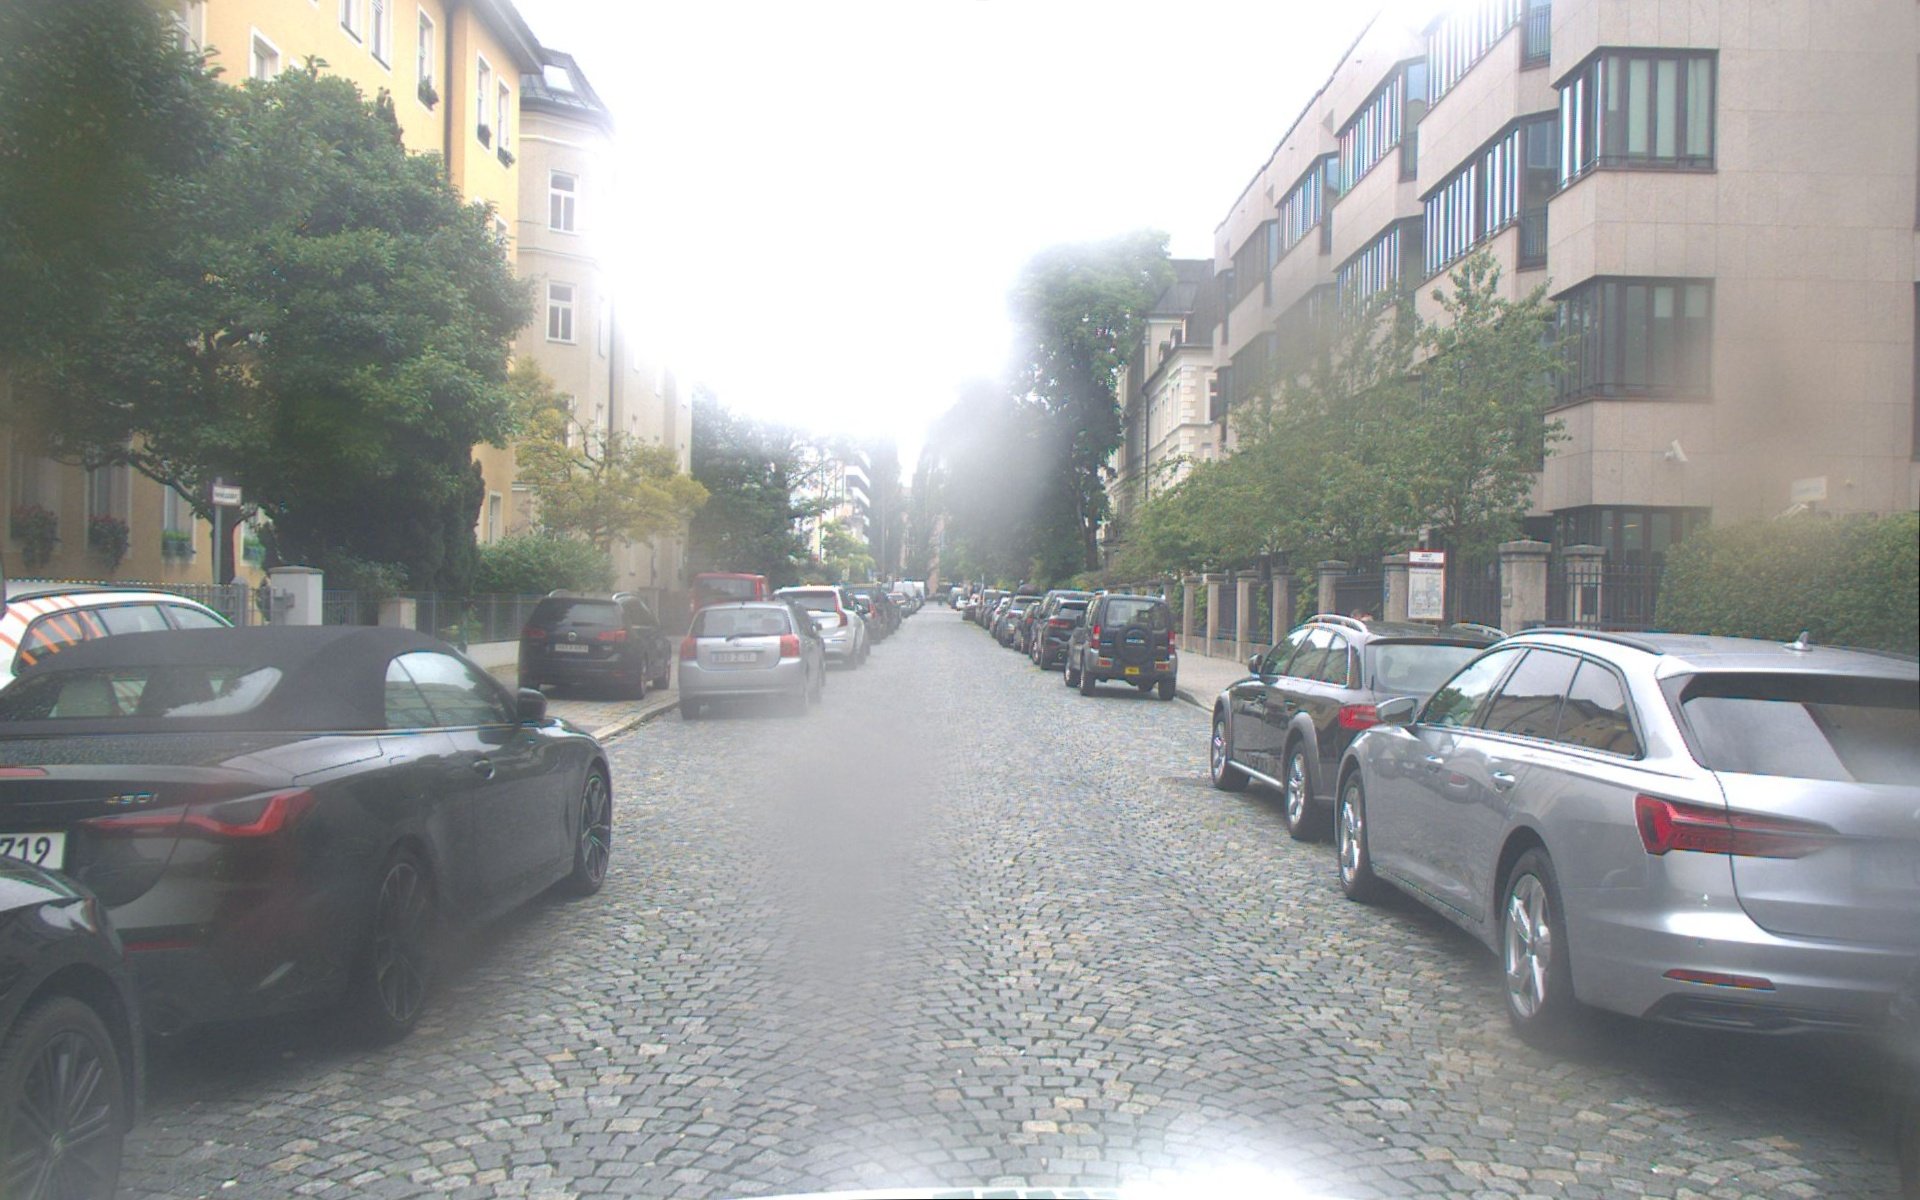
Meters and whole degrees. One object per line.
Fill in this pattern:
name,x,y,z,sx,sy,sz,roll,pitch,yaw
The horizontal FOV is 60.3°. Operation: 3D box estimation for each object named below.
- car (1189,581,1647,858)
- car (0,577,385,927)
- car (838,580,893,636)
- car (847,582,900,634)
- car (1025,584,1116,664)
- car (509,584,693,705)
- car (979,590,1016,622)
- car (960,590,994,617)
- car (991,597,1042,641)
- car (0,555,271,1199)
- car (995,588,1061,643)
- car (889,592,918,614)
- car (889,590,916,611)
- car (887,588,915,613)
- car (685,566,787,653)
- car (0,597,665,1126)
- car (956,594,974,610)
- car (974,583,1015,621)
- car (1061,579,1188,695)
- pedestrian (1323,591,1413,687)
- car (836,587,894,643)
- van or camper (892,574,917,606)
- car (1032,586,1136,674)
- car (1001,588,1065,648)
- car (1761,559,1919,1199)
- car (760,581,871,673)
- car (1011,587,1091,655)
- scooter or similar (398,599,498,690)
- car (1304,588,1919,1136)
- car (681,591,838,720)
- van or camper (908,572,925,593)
car,3.142,0.720,12.578,1.953,1.579,5.013,3,0,-1
car,-4.887,0.616,9.190,1.739,1.441,4.561,2,0,0
car,-3.438,0.273,60.885,1.835,1.950,4.826,-2,0,-2
car,-3.458,0.312,67.291,1.953,1.950,5.175,-3,0,-2
car,2.780,0.571,42.667,1.753,1.827,4.507,4,0,-2
car,-5.150,0.588,24.334,1.680,1.523,4.720,3,0,-1
car,1.930,0.309,86.498,1.799,1.516,4.421,3,0,0
car,1.049,0.204,104.185,1.836,1.529,4.509,3,0,-3
car,2.167,0.705,64.635,1.835,1.516,4.617,3,1,1
car,-2.669,0.739,2.194,1.704,1.631,4.536,-1,0,-2
car,2.391,0.523,59.505,1.836,1.765,4.745,4,0,-3
car,-4.417,0.239,129.892,1.834,1.607,4.209,3,0,2
car,-4.112,0.032,118.135,1.836,1.476,4.205,-1,0,-3
car,-4.022,0.037,112.106,1.836,1.607,4.253,-2,0,-3
car,-5.576,0.212,41.788,1.954,1.964,5.328,2,0,-2
car,-2.631,0.756,7.188,1.777,1.480,4.912,-2,0,0
car,0.462,0.176,165.855,1.753,1.547,4.000,1,0,0
car,1.887,0.081,92.216,1.836,1.962,5.161,3,0,-3
car,2.790,0.590,28.746,1.586,1.781,3.885,3,0,-2
pedestrian,6.738,0.623,27.360,1.192,1.519,1.129,-2,0,1
car,-3.212,0.462,55.779,1.828,1.765,4.401,-2,0,-3
van or camper,-4.868,-0.837,144.858,1.953,2.698,4.000,-2,0,0
car,2.721,0.627,37.225,1.823,1.731,4.812,4,0,-1
car,2.316,0.548,53.713,1.835,1.765,4.892,3,0,0
car,3.196,0.783,2.418,1.855,1.682,4.293,2,0,-1
car,-3.081,0.546,36.276,1.965,1.840,5.174,-1,0,0
car,2.623,0.585,48.651,1.836,1.765,4.657,4,0,-2
scooter or similar,-7.440,0.624,24.109,0.937,1.221,1.522,3,0,-1
car,3.058,0.787,7.357,1.953,1.579,4.985,2,0,0
car,-2.672,0.686,22.915,1.679,1.589,4.389,-1,0,-1
van or camper,-5.959,-2.378,229.423,2.210,2.790,5.097,1,0,-1
